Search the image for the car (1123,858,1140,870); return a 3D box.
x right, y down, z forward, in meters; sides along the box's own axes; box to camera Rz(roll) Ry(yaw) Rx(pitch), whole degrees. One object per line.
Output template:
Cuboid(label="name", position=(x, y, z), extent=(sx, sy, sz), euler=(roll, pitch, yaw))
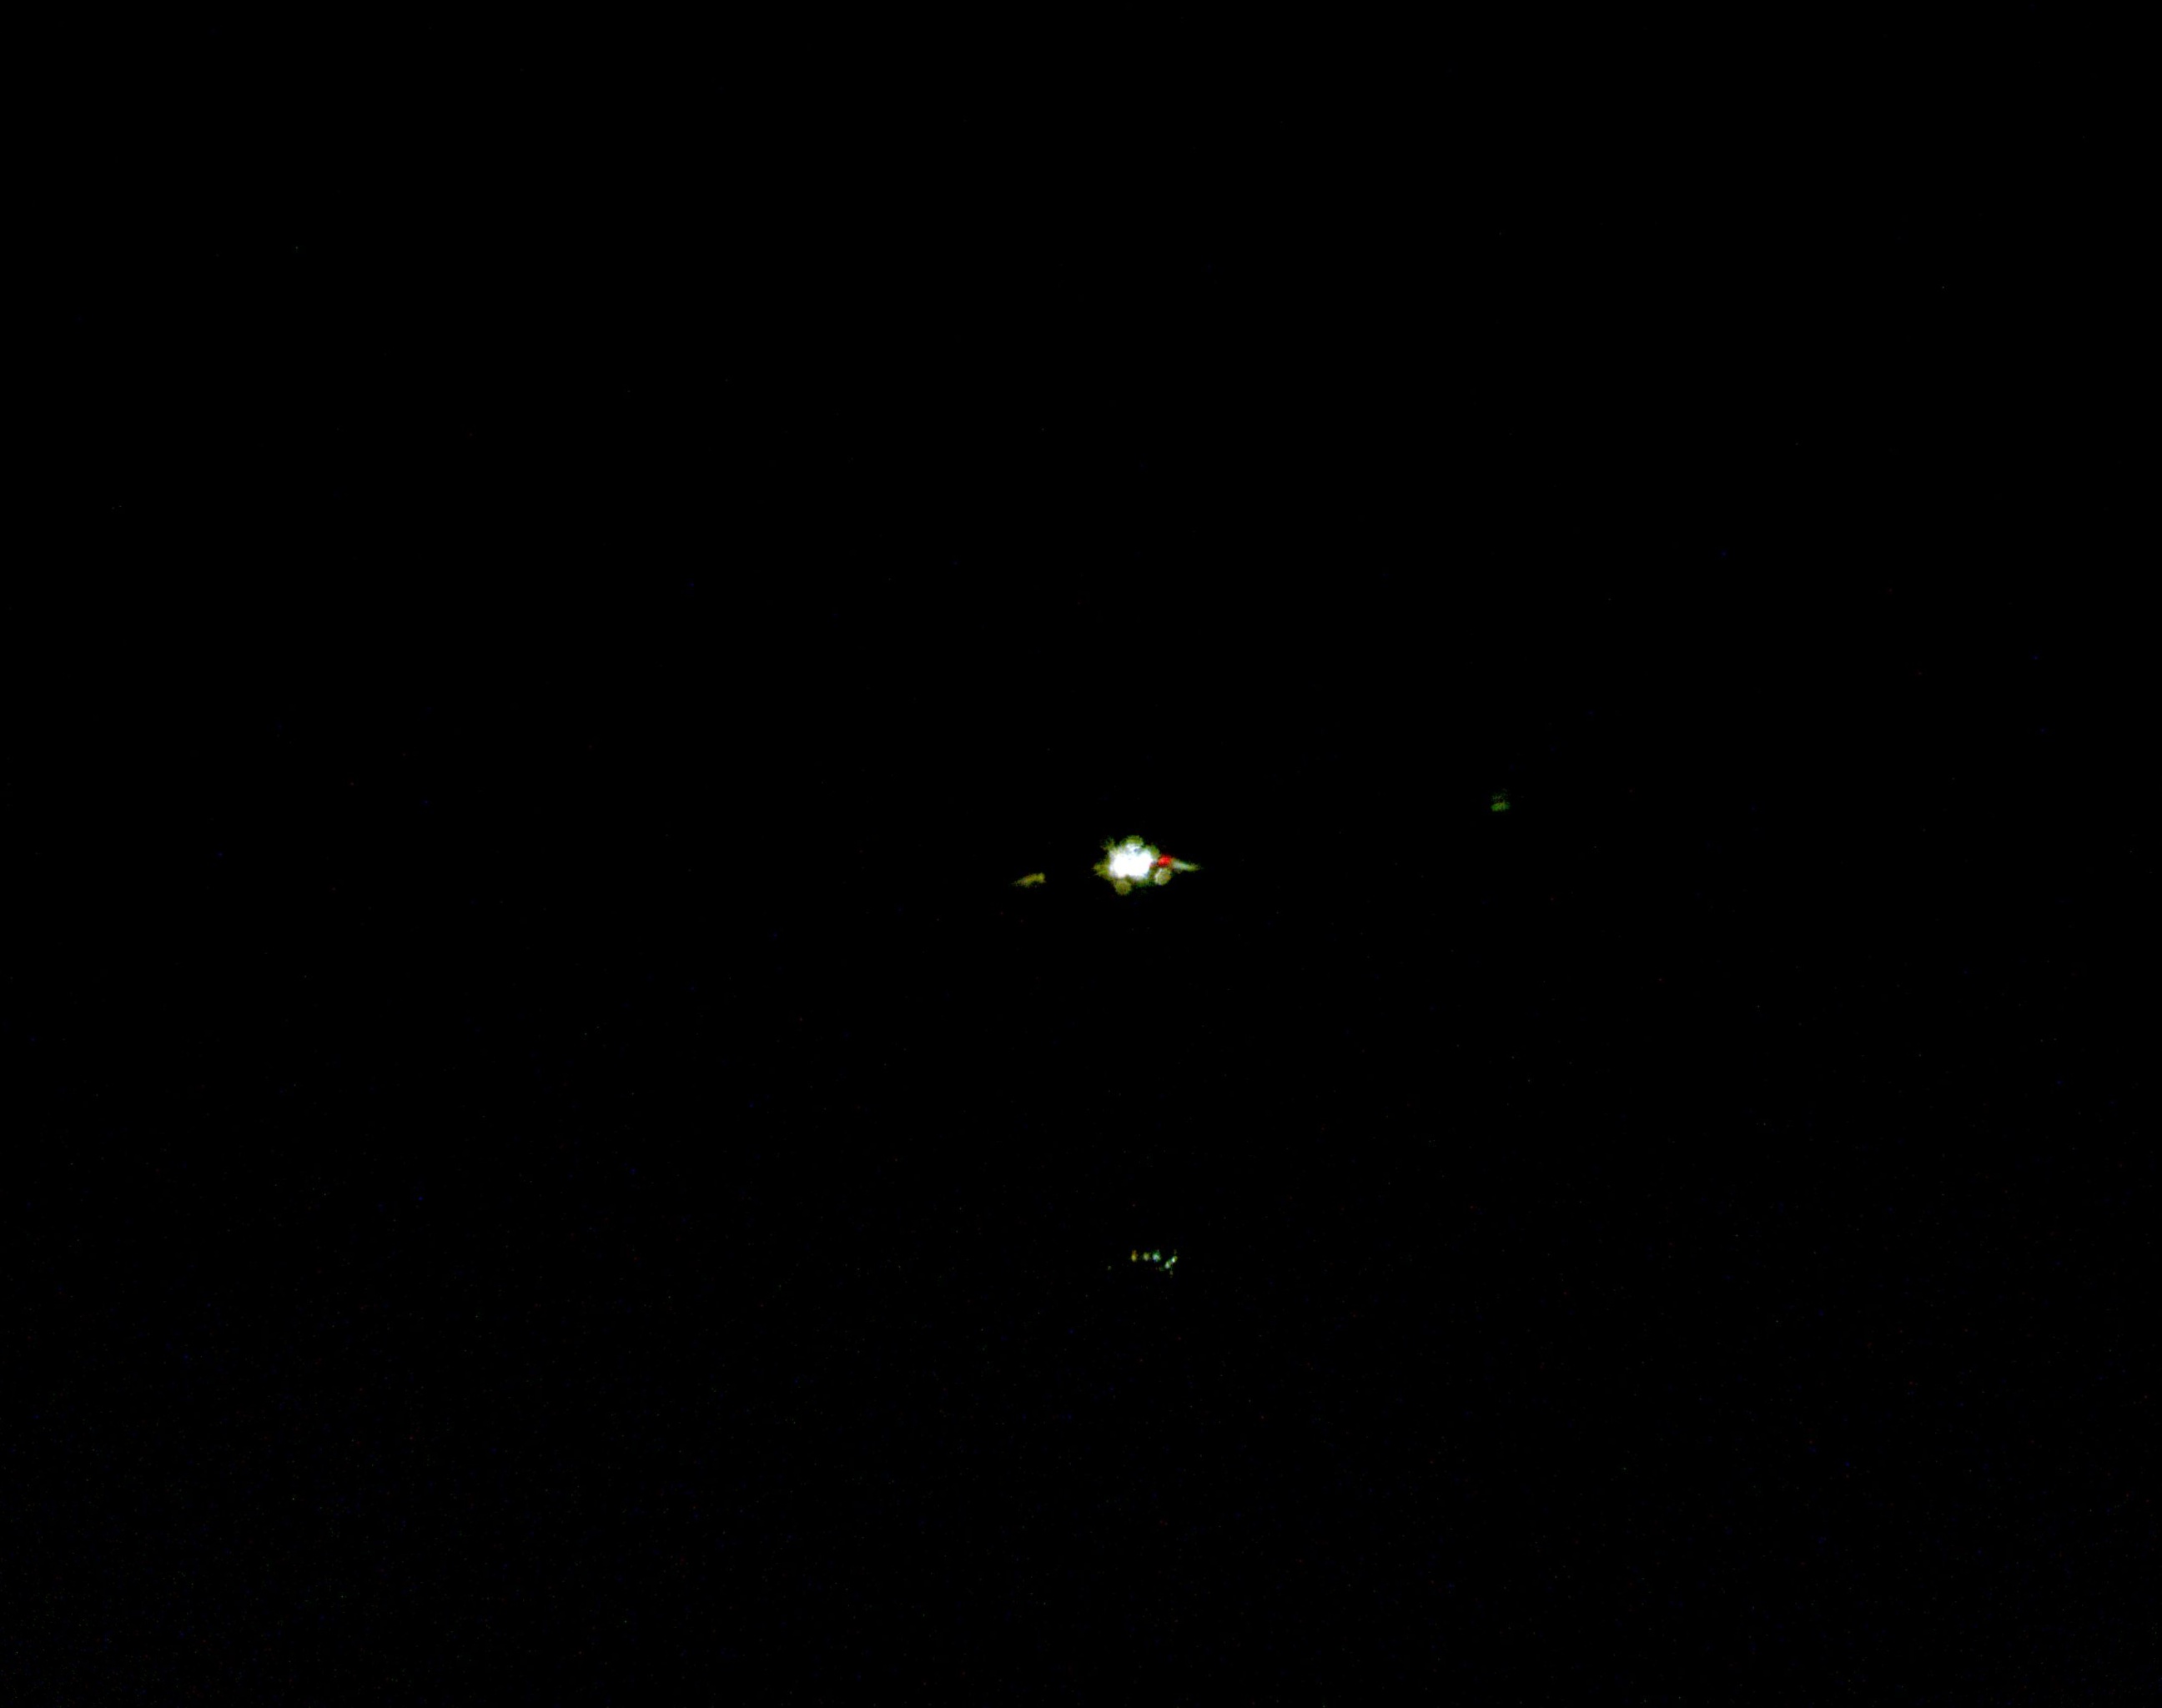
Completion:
Cuboid(label="car", position=(6.628, 1.302, 99.925), extent=(1.745, 1.623, 3.739), euler=(-1, 0, 10))

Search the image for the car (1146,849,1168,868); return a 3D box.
Cuboid(label="car", position=(6.894, 0.431, 69.287), extent=(1.925, 1.636, 4.027), euler=(-1, 0, 5))
